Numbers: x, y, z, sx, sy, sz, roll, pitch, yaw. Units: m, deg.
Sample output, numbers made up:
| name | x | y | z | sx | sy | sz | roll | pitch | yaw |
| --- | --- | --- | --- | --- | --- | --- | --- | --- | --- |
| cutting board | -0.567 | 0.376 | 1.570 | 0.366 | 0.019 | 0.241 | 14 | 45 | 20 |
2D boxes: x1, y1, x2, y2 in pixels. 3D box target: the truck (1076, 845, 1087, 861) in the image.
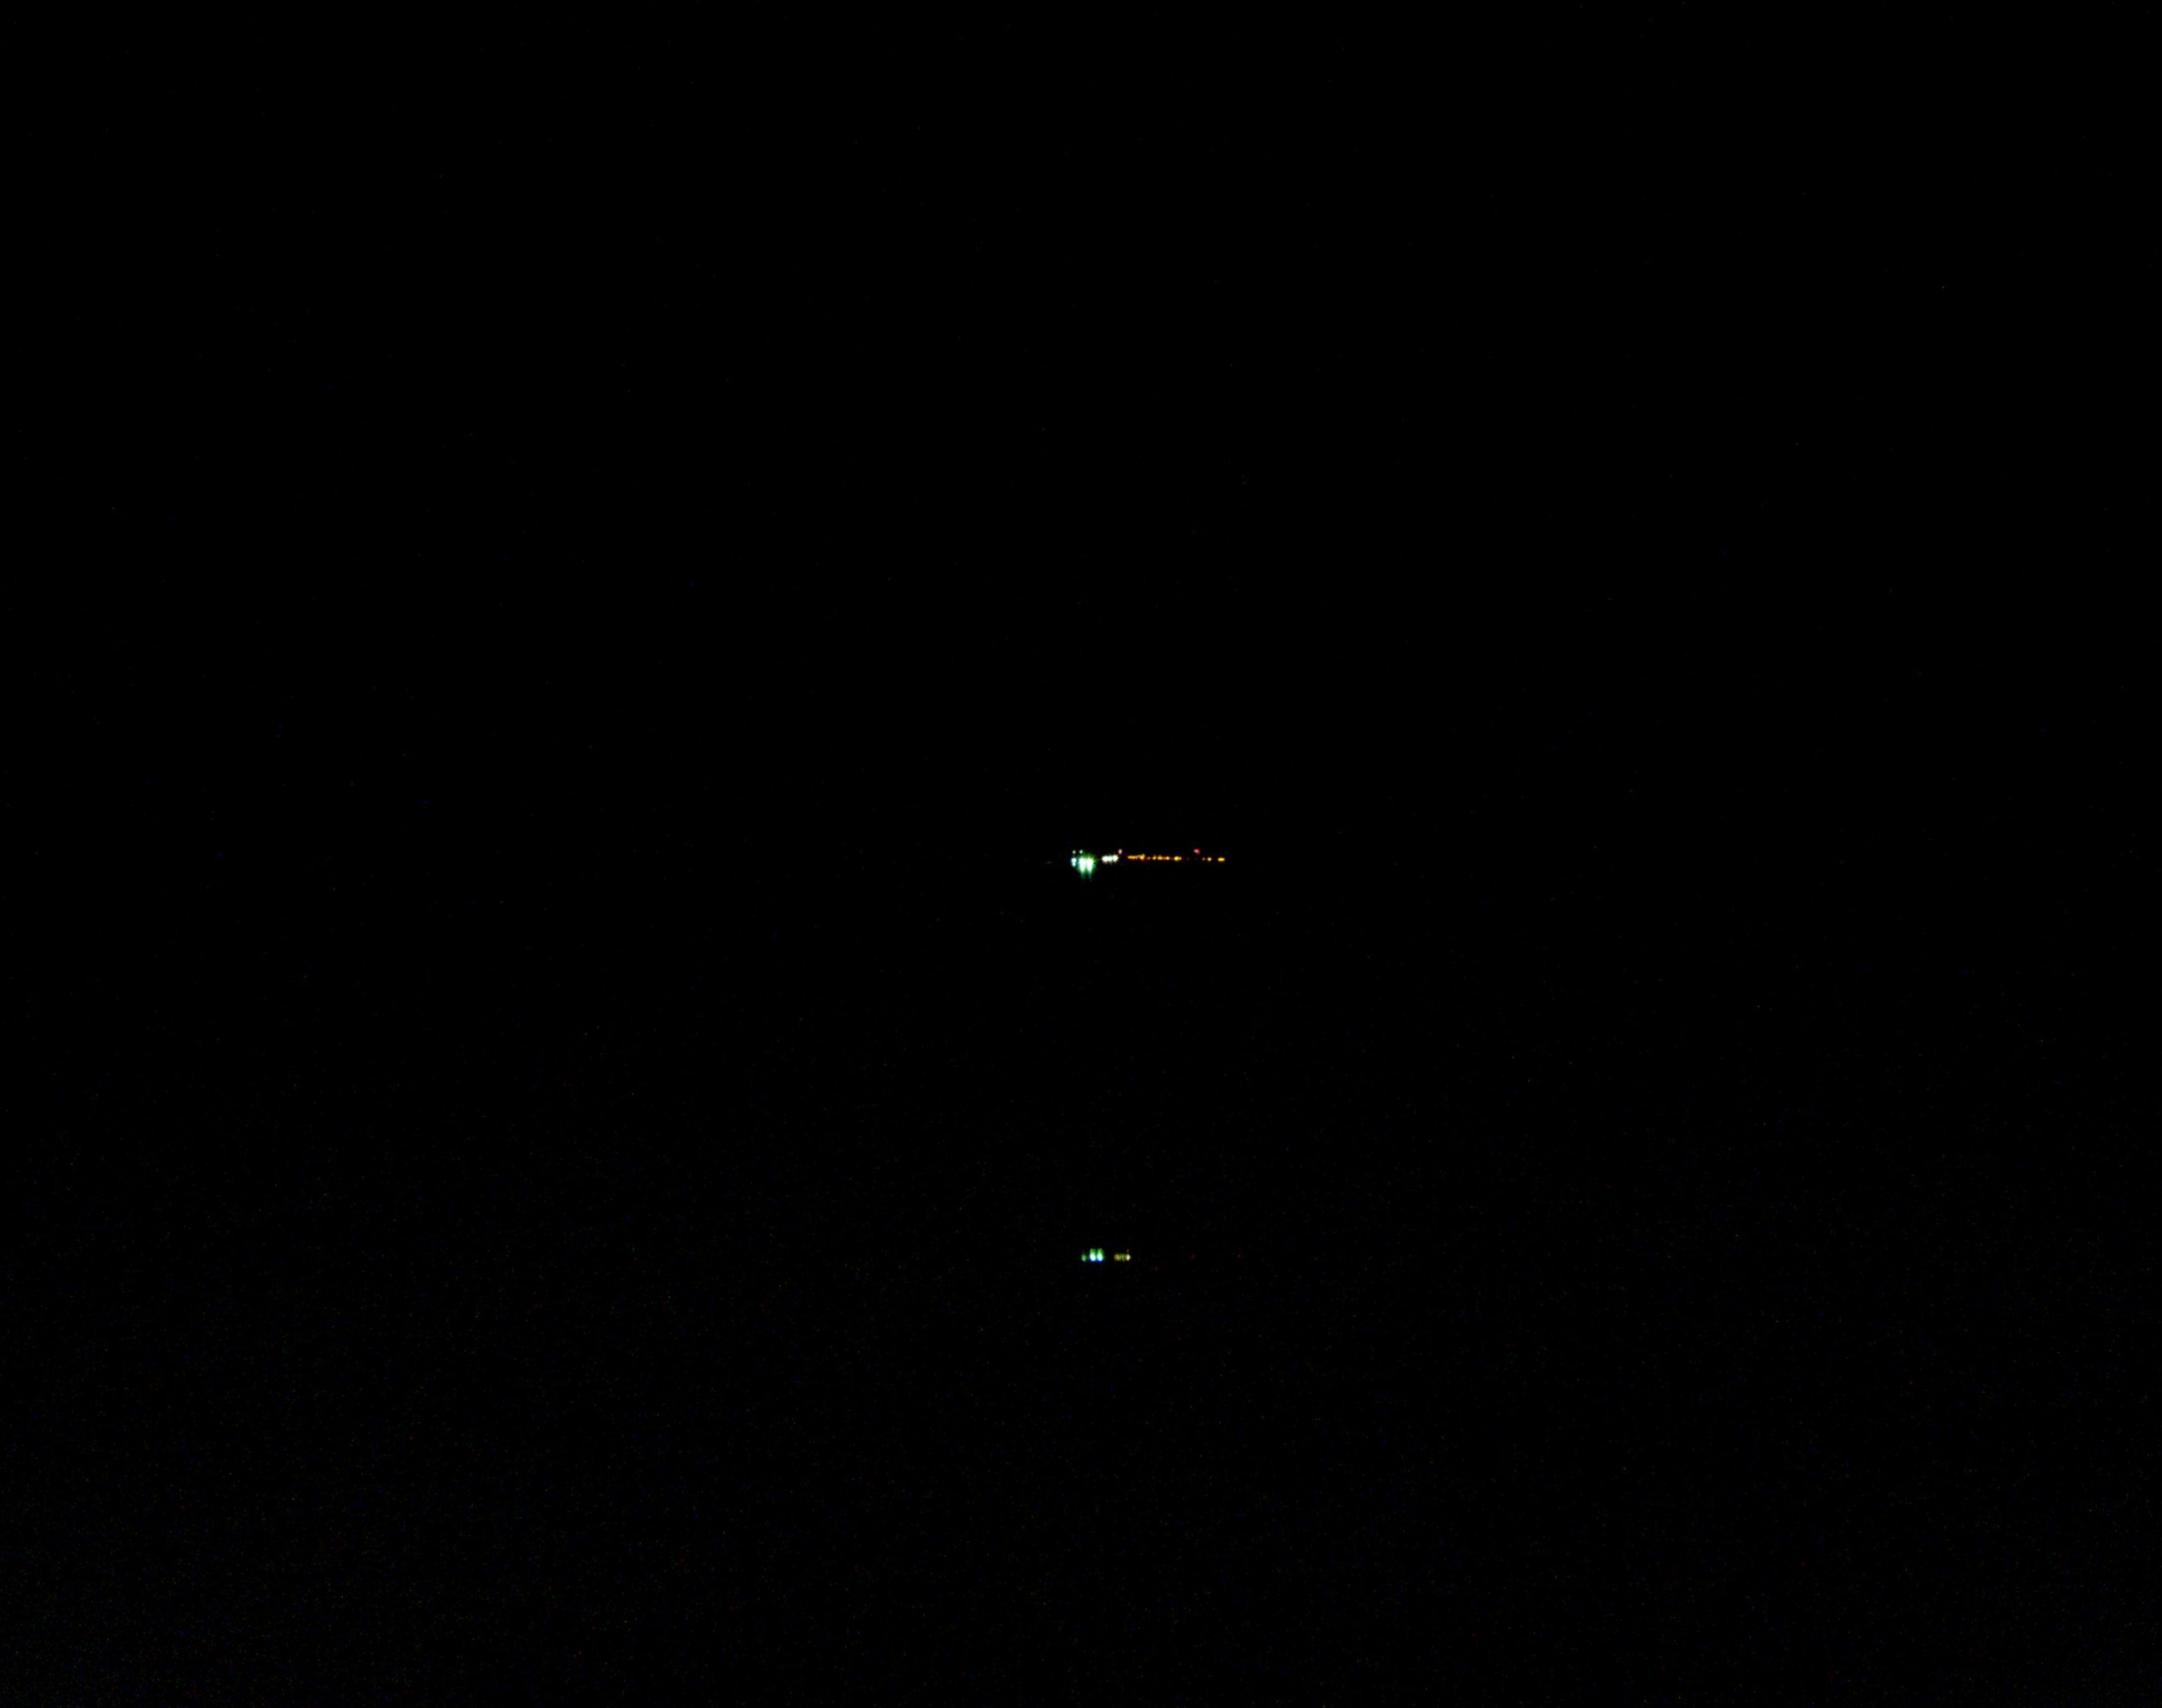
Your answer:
| name | x | y | z | sx | sy | sz | roll | pitch | yaw |
| --- | --- | --- | --- | --- | --- | --- | --- | --- | --- |
| truck | 0.081 | -0.372 | 213.681 | 2.749 | 4.182 | 13.508 | -2 | 0 | 0 |

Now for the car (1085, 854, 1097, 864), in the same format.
| name | x | y | z | sx | sy | sz | roll | pitch | yaw |
| --- | --- | --- | --- | --- | --- | --- | --- | --- | --- |
| car | 2.008 | 0.934 | 152.985 | 2.267 | 1.842 | 5.403 | -2 | 0 | -1 |
